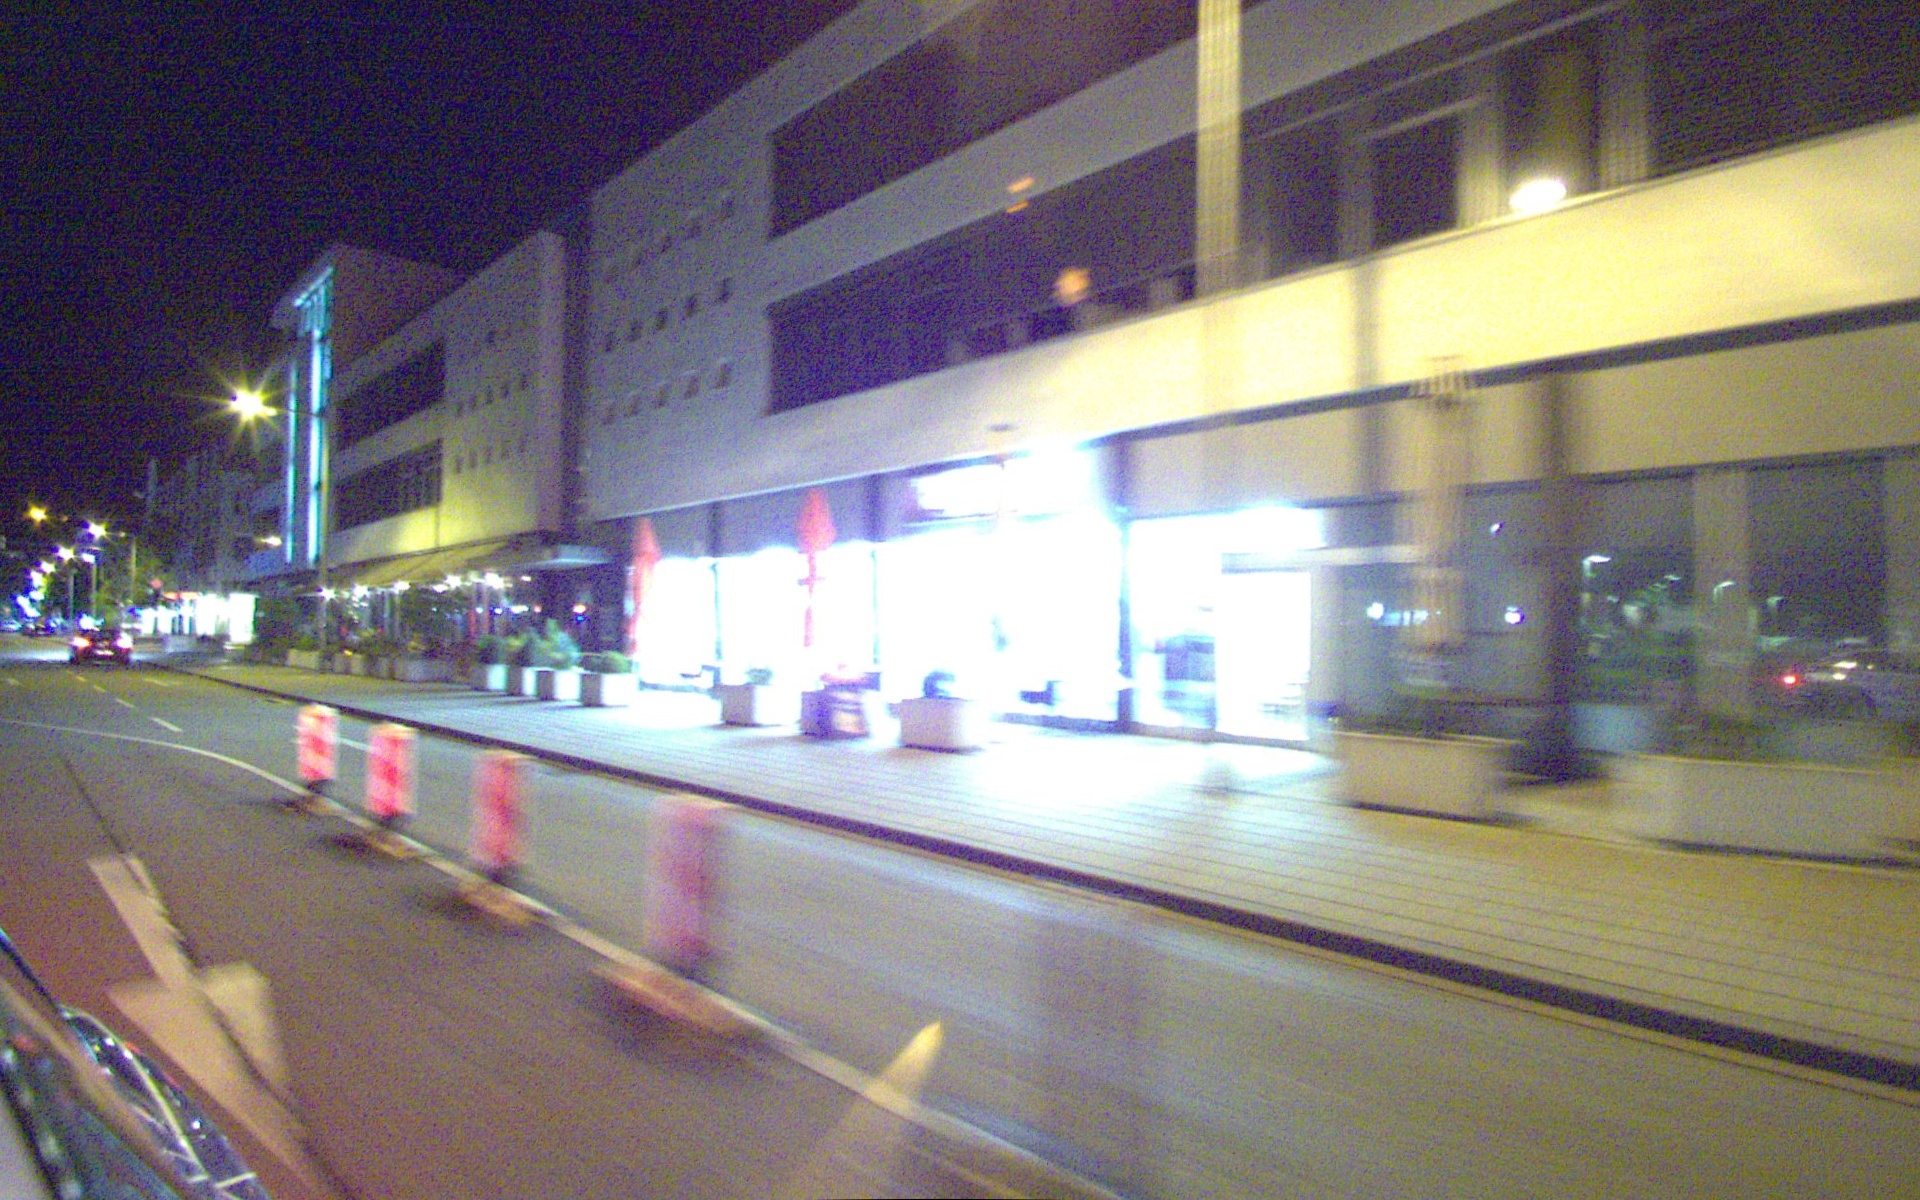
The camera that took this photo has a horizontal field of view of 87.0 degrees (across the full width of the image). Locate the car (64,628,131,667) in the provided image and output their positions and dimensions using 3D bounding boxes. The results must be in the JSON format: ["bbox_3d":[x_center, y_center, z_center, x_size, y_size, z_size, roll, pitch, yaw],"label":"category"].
[{"bbox_3d":[-34.332,1.865,40.250,4.002,1.439,1.648,-1,-5,45],"label":"car"}]
